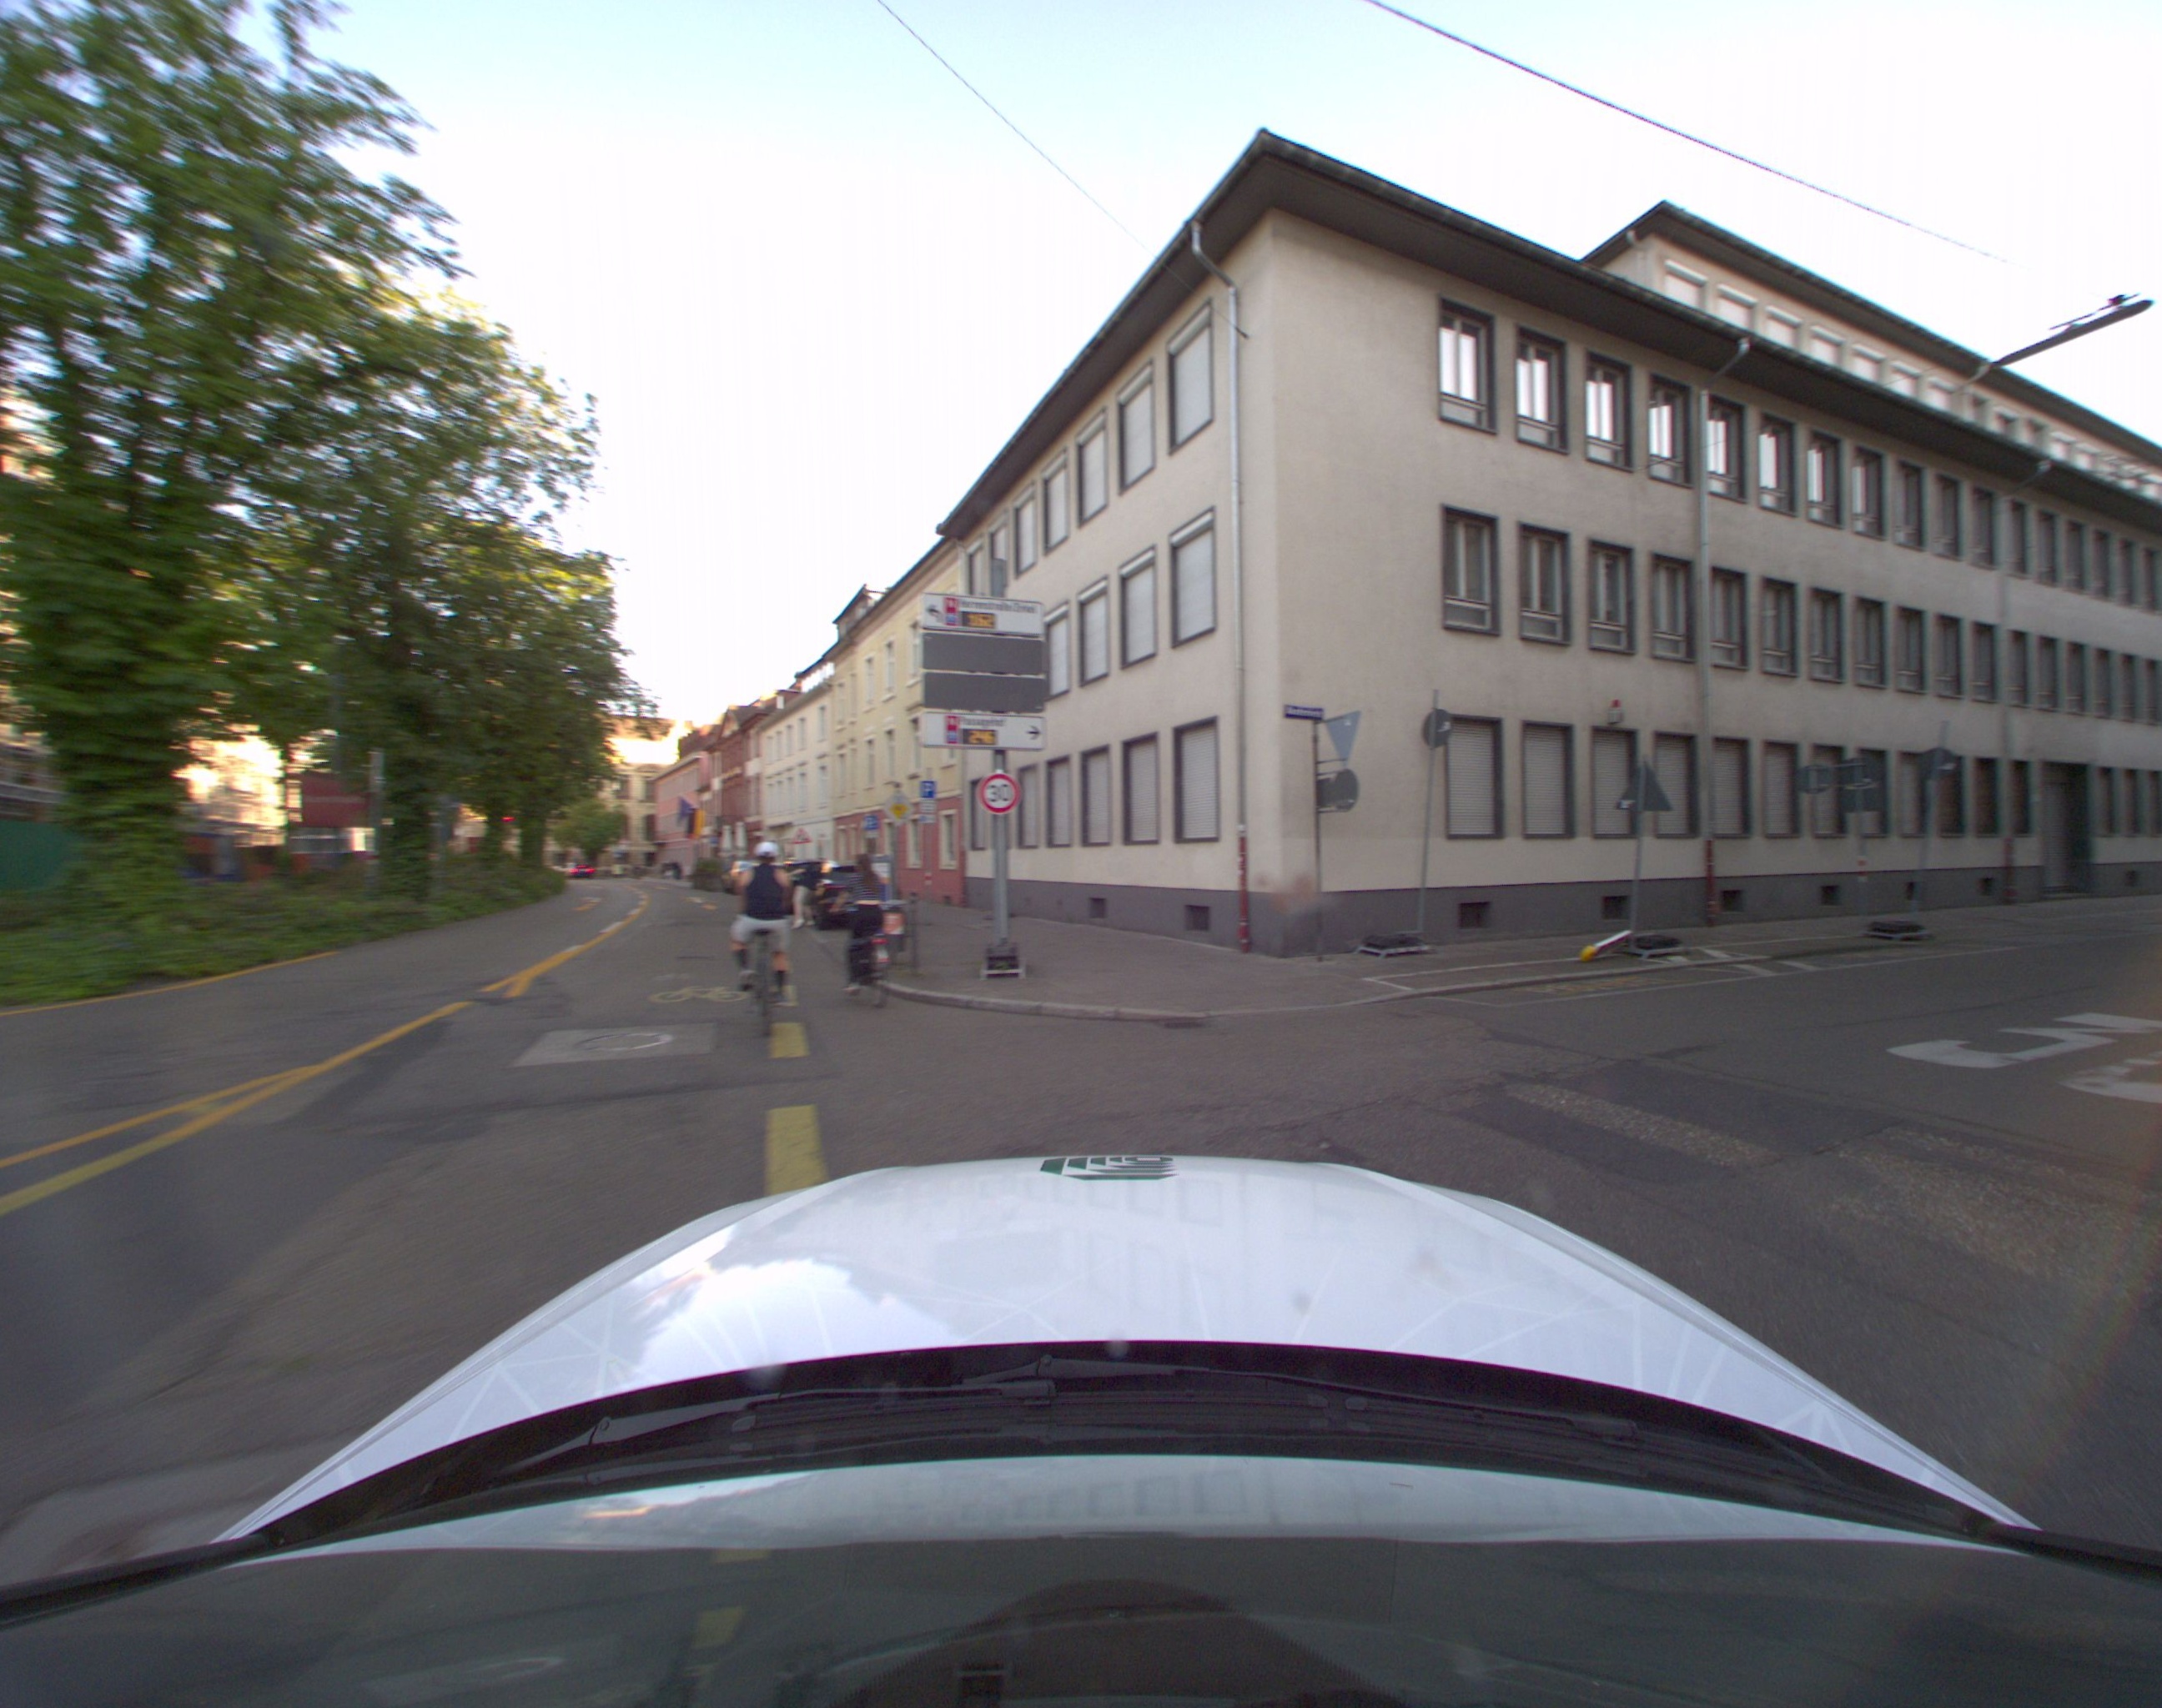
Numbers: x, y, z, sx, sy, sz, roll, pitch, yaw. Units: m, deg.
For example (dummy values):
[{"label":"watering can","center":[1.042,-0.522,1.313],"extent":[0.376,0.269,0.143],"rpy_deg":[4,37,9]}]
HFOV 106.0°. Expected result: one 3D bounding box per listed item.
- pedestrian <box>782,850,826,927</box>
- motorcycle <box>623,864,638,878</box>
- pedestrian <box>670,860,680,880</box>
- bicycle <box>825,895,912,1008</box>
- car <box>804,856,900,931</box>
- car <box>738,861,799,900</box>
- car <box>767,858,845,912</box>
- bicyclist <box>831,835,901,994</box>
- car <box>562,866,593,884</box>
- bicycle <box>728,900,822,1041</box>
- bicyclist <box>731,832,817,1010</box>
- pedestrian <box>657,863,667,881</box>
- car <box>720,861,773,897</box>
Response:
[{"label":"pedestrian","center":[-6.942,0.848,20.396],"extent":[0.905,1.866,0.924],"rpy_deg":[0,-1,-27]},{"label":"motorcycle","center":[-41.742,1.600,75.425],"extent":[1.049,1.248,2.372],"rpy_deg":[0,0,-34]},{"label":"pedestrian","center":[-35.696,1.418,71.650],"extent":[0.755,1.762,0.579],"rpy_deg":[0,-1,-32]},{"label":"bicycle","center":[-2.537,1.064,9.539],"extent":[0.655,1.071,2.241],"rpy_deg":[2,-1,-22]},{"label":"car","center":[-5.806,0.898,20.357],"extent":[1.820,1.682,3.889],"rpy_deg":[0,0,-23]},{"label":"car","center":[-13.279,1.078,34.469],"extent":[1.824,1.560,3.827],"rpy_deg":[0,0,-30]},{"label":"car","center":[-9.355,0.977,27.493],"extent":[1.823,1.684,3.963],"rpy_deg":[0,0,-29]},{"label":"bicyclist","center":[-2.538,0.677,9.577],"extent":[0.652,1.760,0.858],"rpy_deg":[2,-1,-23]},{"label":"car","center":[-44.579,1.852,72.088],"extent":[1.827,1.560,3.819],"rpy_deg":[0,0,-40]},{"label":"bicycle","center":[-2.936,1.012,7.707],"extent":[0.673,1.071,1.885],"rpy_deg":[1,-1,-25]},{"label":"bicyclist","center":[-2.883,0.601,7.628],"extent":[0.672,1.566,0.693],"rpy_deg":[2,-1,-25]},{"label":"pedestrian","center":[-36.541,1.541,71.021],"extent":[0.672,1.581,0.579],"rpy_deg":[0,-1,-32]},{"label":"car","center":[-15.760,1.129,38.232],"extent":[1.824,1.560,3.827],"rpy_deg":[0,0,-30]}]
